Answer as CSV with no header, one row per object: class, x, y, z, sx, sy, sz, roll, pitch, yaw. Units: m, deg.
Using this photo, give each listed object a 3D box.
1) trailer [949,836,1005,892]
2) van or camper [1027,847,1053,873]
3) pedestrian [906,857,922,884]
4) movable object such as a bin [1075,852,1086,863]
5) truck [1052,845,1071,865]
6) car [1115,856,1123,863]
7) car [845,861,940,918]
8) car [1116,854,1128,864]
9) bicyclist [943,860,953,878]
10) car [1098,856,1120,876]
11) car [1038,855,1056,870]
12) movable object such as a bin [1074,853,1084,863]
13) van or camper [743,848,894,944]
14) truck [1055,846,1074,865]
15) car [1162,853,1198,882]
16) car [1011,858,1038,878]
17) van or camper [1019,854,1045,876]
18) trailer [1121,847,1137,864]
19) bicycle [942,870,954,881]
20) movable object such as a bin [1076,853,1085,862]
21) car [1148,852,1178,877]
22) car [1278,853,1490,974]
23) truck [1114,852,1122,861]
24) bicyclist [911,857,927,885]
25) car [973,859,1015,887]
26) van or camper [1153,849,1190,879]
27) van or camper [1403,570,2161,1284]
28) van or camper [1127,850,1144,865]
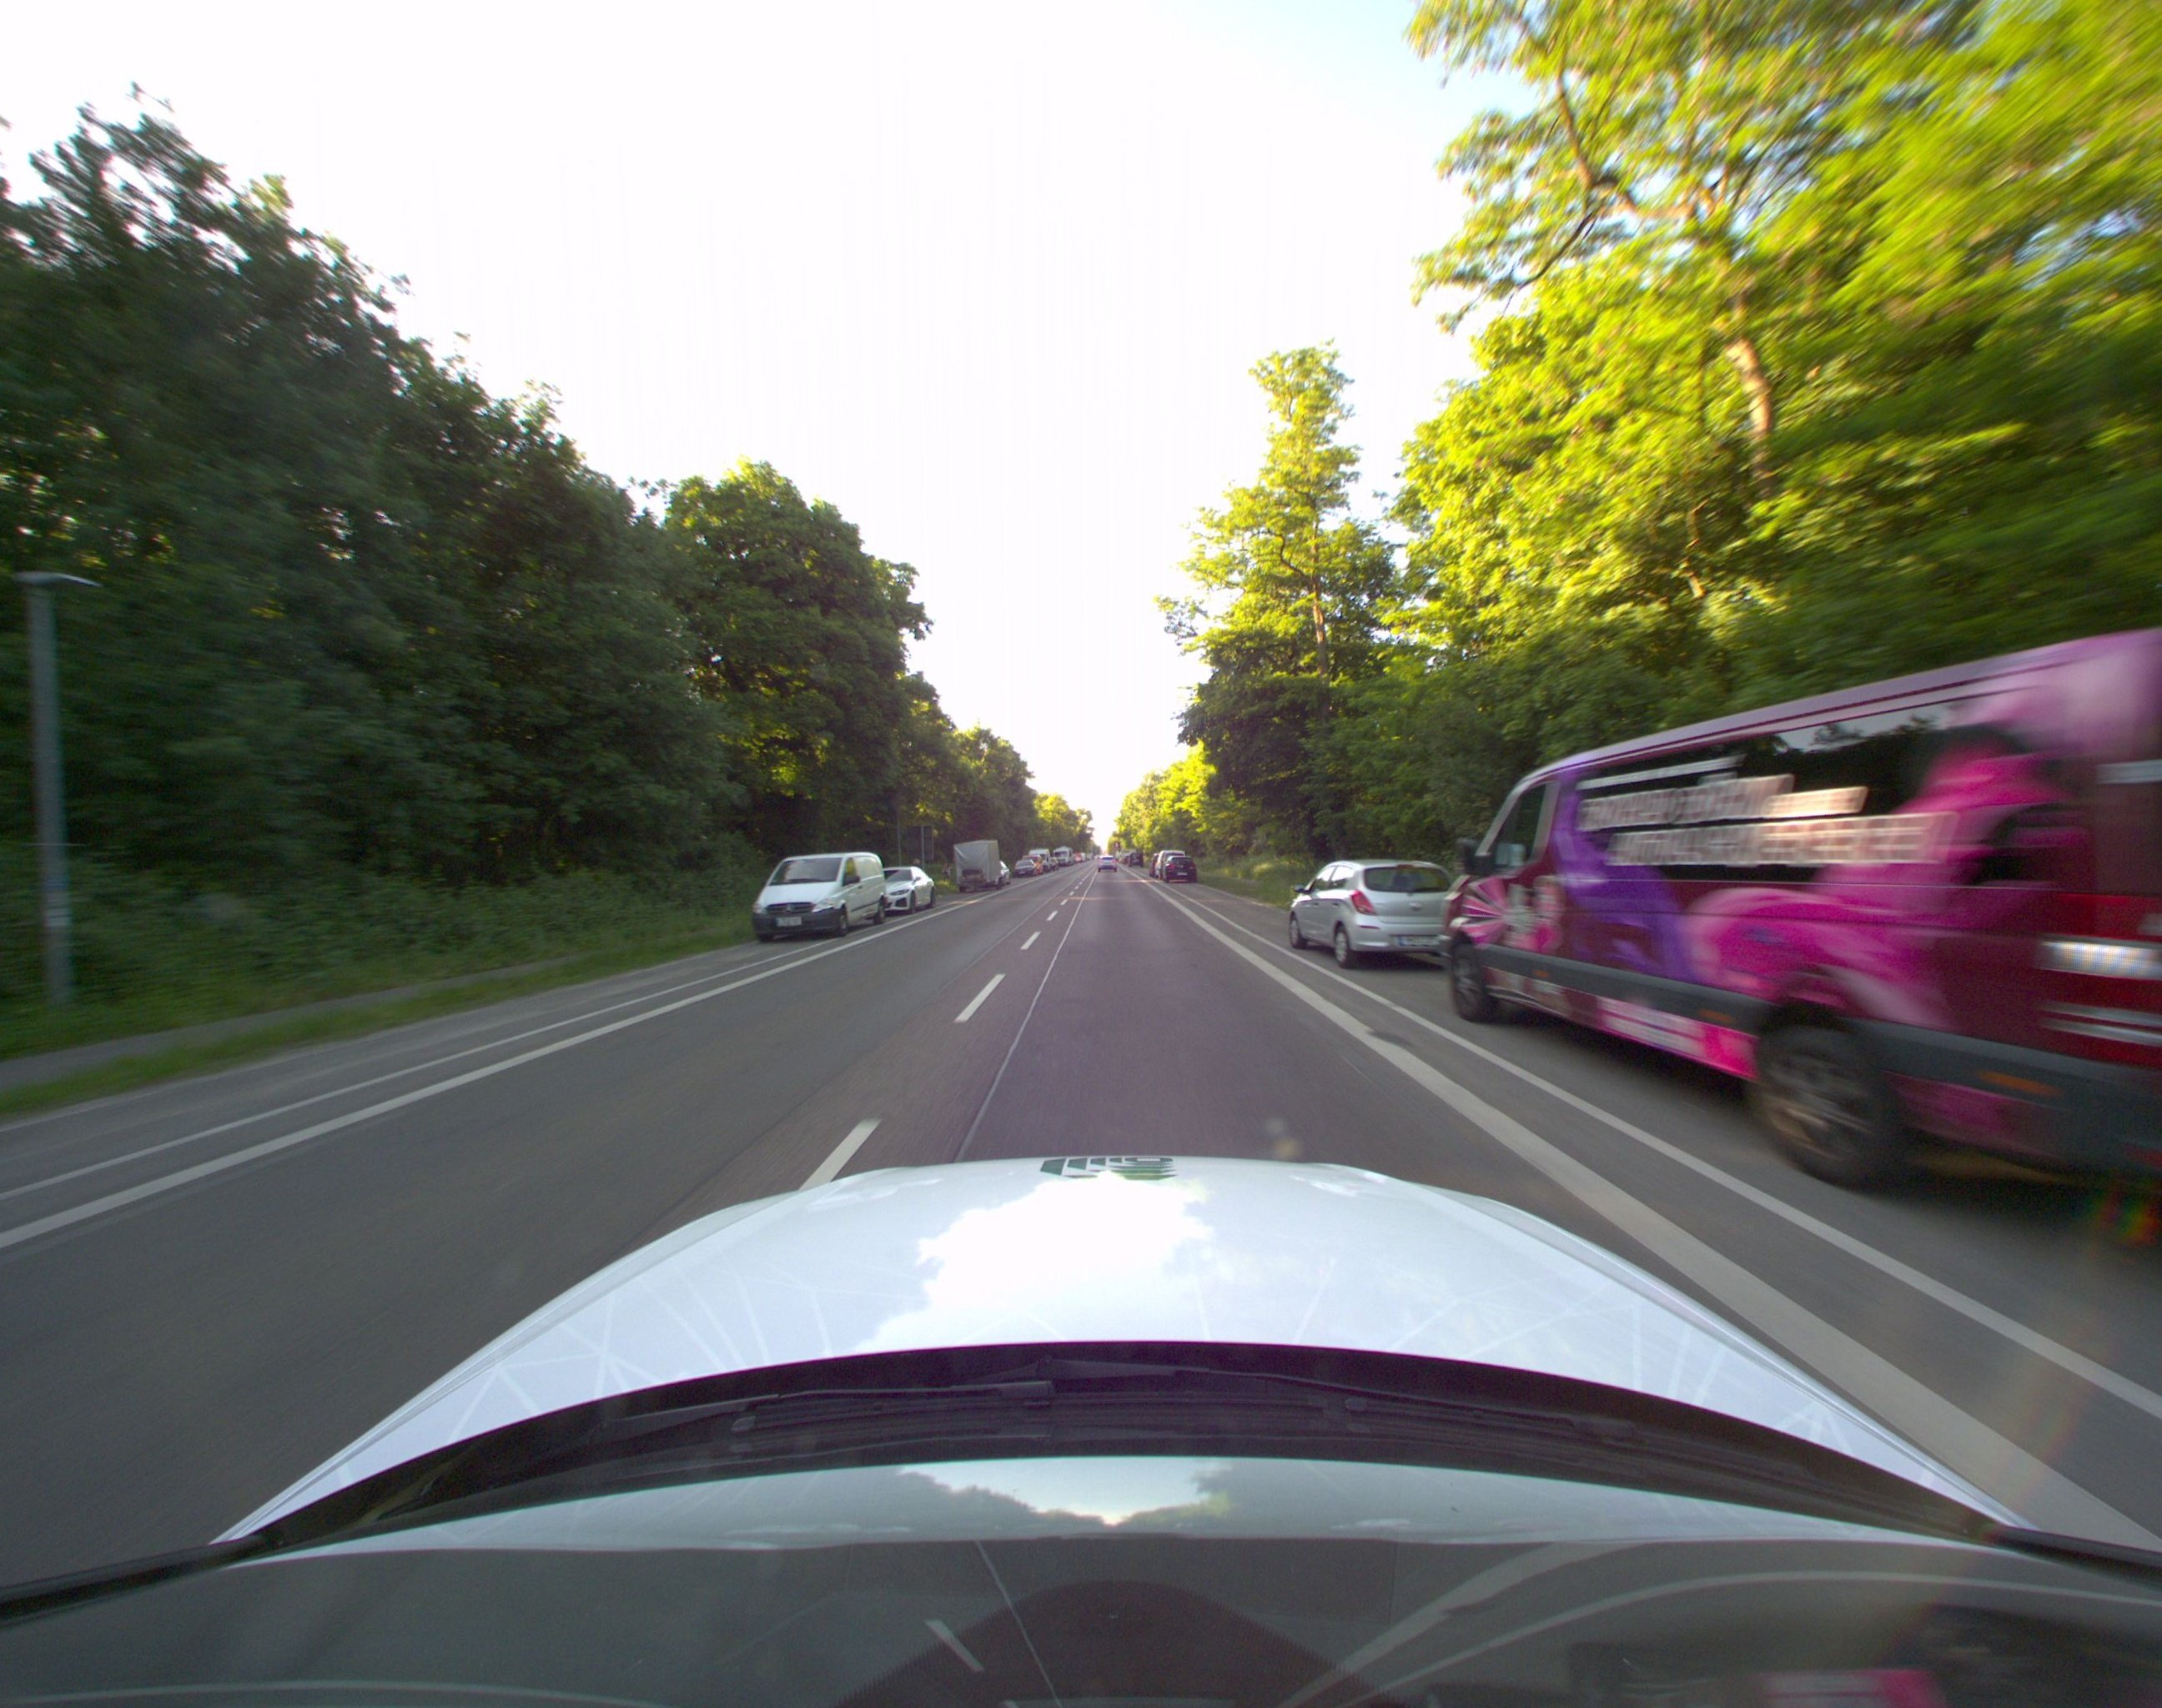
trailer,-5.295,0.502,41.924,1.986,2.597,4.417,-4,0,2
van or camper,-4.308,0.635,86.606,2.112,2.572,6.545,-2,0,2
pedestrian,-9.798,0.964,47.845,0.755,1.607,0.716,-1,0,1
movable object such as a bin,-0.169,0.932,194.007,2.313,2.501,4.002,-2,0,2
truck,-3.172,0.193,134.967,2.697,3.093,7.992,-1,0,2
car,8.758,1.179,187.297,1.649,1.478,3.755,-2,0,2
car,-5.900,1.065,26.049,1.768,1.540,4.526,-3,0,1
car,6.463,0.791,128.704,1.834,1.662,4.002,-1,0,2
bicyclist,-9.233,1.048,56.455,0.485,1.235,0.974,-1,0,2
car,2.690,1.131,77.977,2.021,1.840,4.031,-2,0,2
car,-4.110,1.007,98.545,1.774,1.684,4.380,-3,0,2
movable object such as a bin,-0.487,1.030,208.281,2.313,2.501,4.002,-2,0,2
van or camper,-6.010,0.873,19.323,1.829,1.911,4.857,-3,0,1
truck,-2.916,0.256,146.548,2.697,3.347,10.928,-1,0,2
car,5.511,0.729,45.823,1.684,1.524,4.151,0,0,2
car,-4.758,1.174,68.892,1.725,1.478,4.326,-3,0,2
van or camper,-4.495,0.976,75.443,1.915,1.867,4.865,-3,0,2
trailer,8.859,0.252,150.569,2.747,2.870,6.591,-2,0,2
bicycle,-9.225,1.467,56.477,0.520,0.712,1.488,-1,0,2
movable object such as a bin,-0.100,0.982,231.014,2.313,2.501,4.002,-2,0,2
car,5.703,0.694,57.175,1.827,1.660,4.340,0,0,2
car,4.395,0.776,12.514,1.742,1.515,3.999,2,0,0
truck,10.888,0.661,241.462,2.089,2.452,5.682,-2,0,2
bicyclist,-8.231,0.860,41.303,0.602,1.374,0.799,-1,0,2
car,-5.124,1.088,48.408,1.791,1.453,4.627,-2,0,2
van or camper,5.728,0.614,51.878,1.944,1.815,4.382,-1,0,2
van or camper,4.437,0.188,5.663,2.028,2.312,6.042,-2,0,1
van or camper,7.067,0.422,105.253,1.986,1.932,5.201,0,0,2
